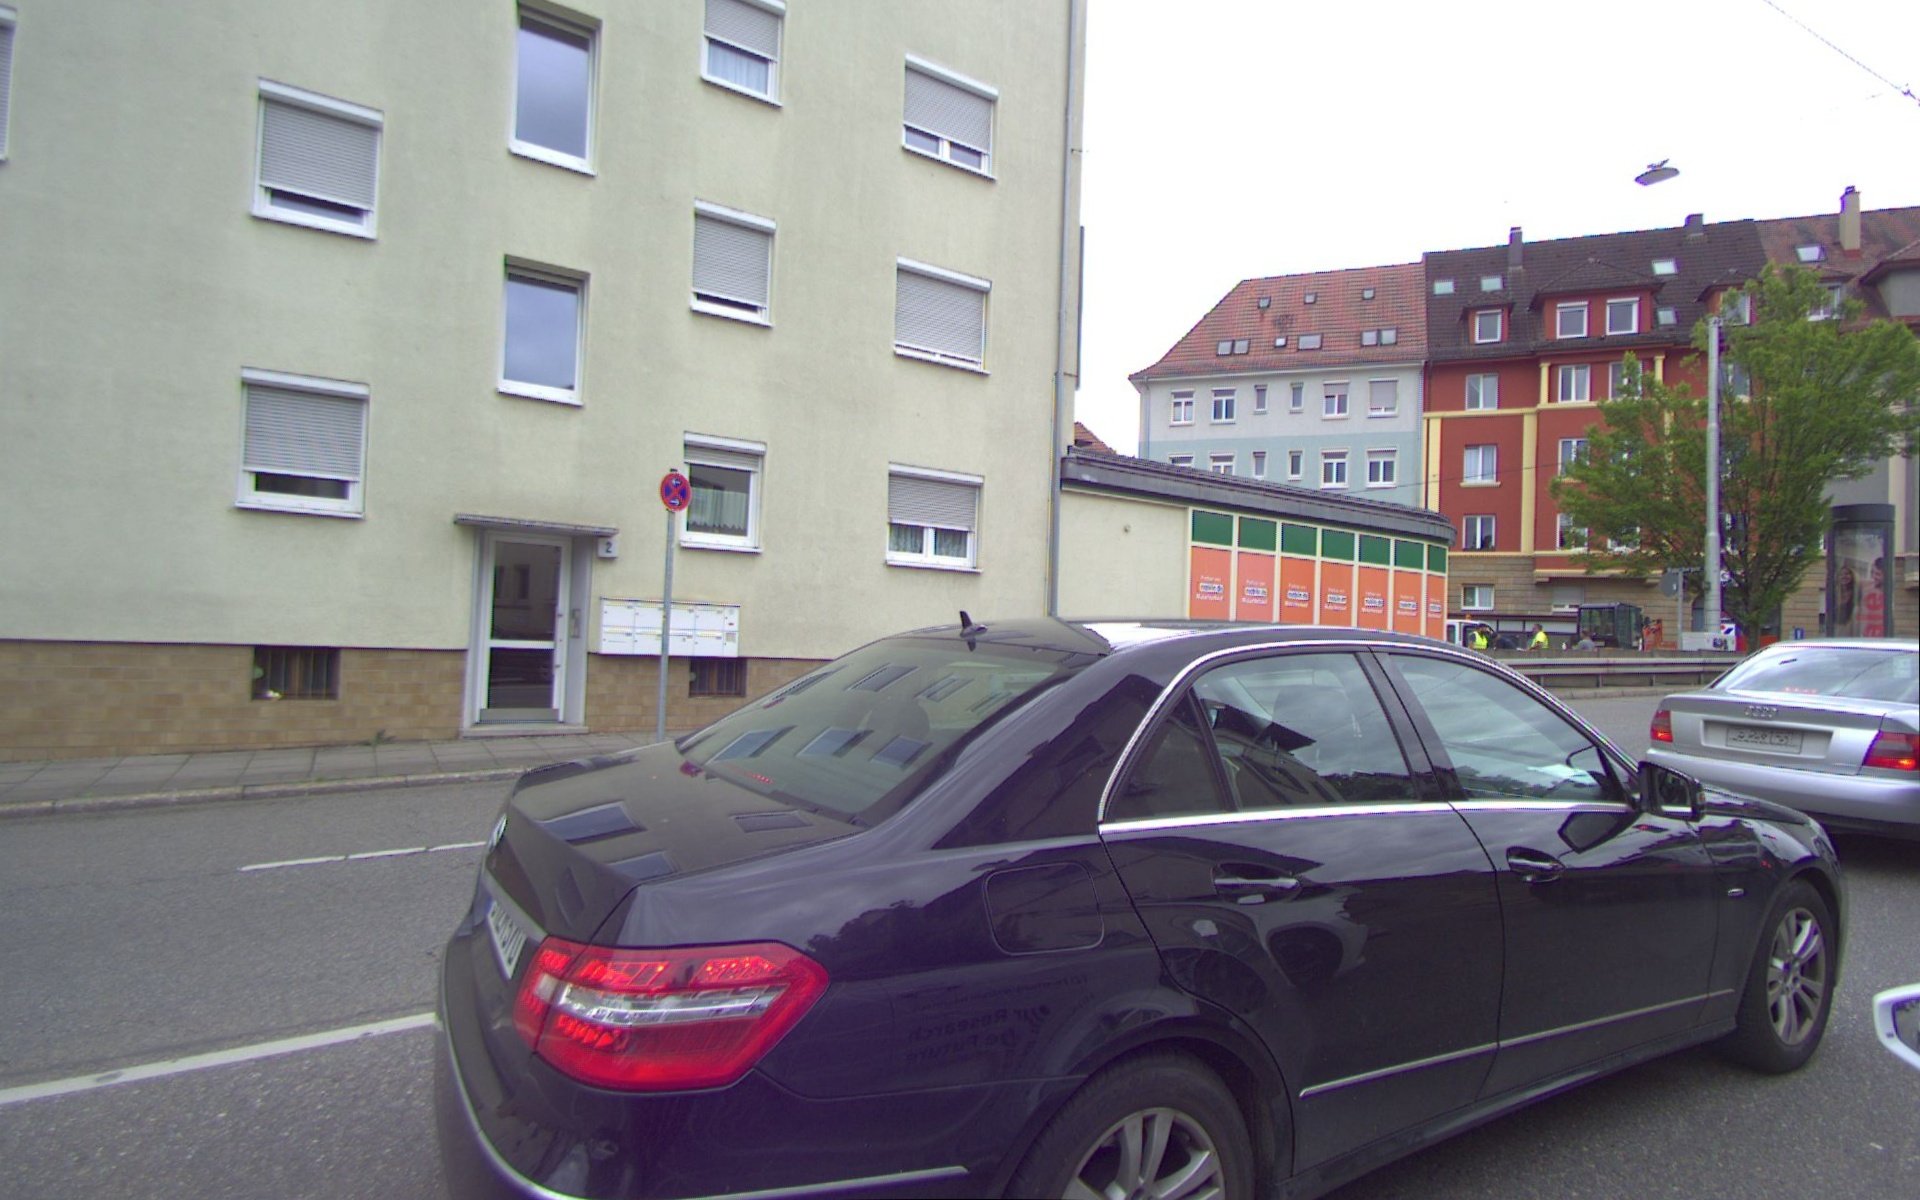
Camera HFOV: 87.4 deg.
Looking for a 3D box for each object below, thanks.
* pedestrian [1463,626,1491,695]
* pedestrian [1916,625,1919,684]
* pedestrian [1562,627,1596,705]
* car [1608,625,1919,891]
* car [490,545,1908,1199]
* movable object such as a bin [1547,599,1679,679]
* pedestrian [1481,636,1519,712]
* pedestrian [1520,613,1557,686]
[{"bbox_3d":[13.574,1.571,26.393,0.467,1.753,0.543,2,1,14],"label":"pedestrian"},{"bbox_3d":[26.156,1.472,26.938,0.480,1.588,0.586,2,1,-30],"label":"pedestrian"},{"bbox_3d":[14.392,1.529,23.360,0.533,1.753,0.593,3,1,26],"label":"pedestrian"},{"bbox_3d":[6.715,0.903,7.137,4.122,1.391,1.690,0,0,-26],"label":"car"},{"bbox_3d":[1.012,0.724,3.186,4.394,1.473,1.739,2,-1,-30],"label":"car"},{"bbox_3d":[16.605,0.943,25.471,3.972,1.795,1.884,2,1,-43],"label":"movable object such as a bin"},{"bbox_3d":[12.678,1.718,23.591,0.539,1.722,0.557,1,1,-41],"label":"pedestrian"},{"bbox_3d":[14.601,1.243,25.363,0.612,1.785,0.566,1,1,-38],"label":"pedestrian"}]
